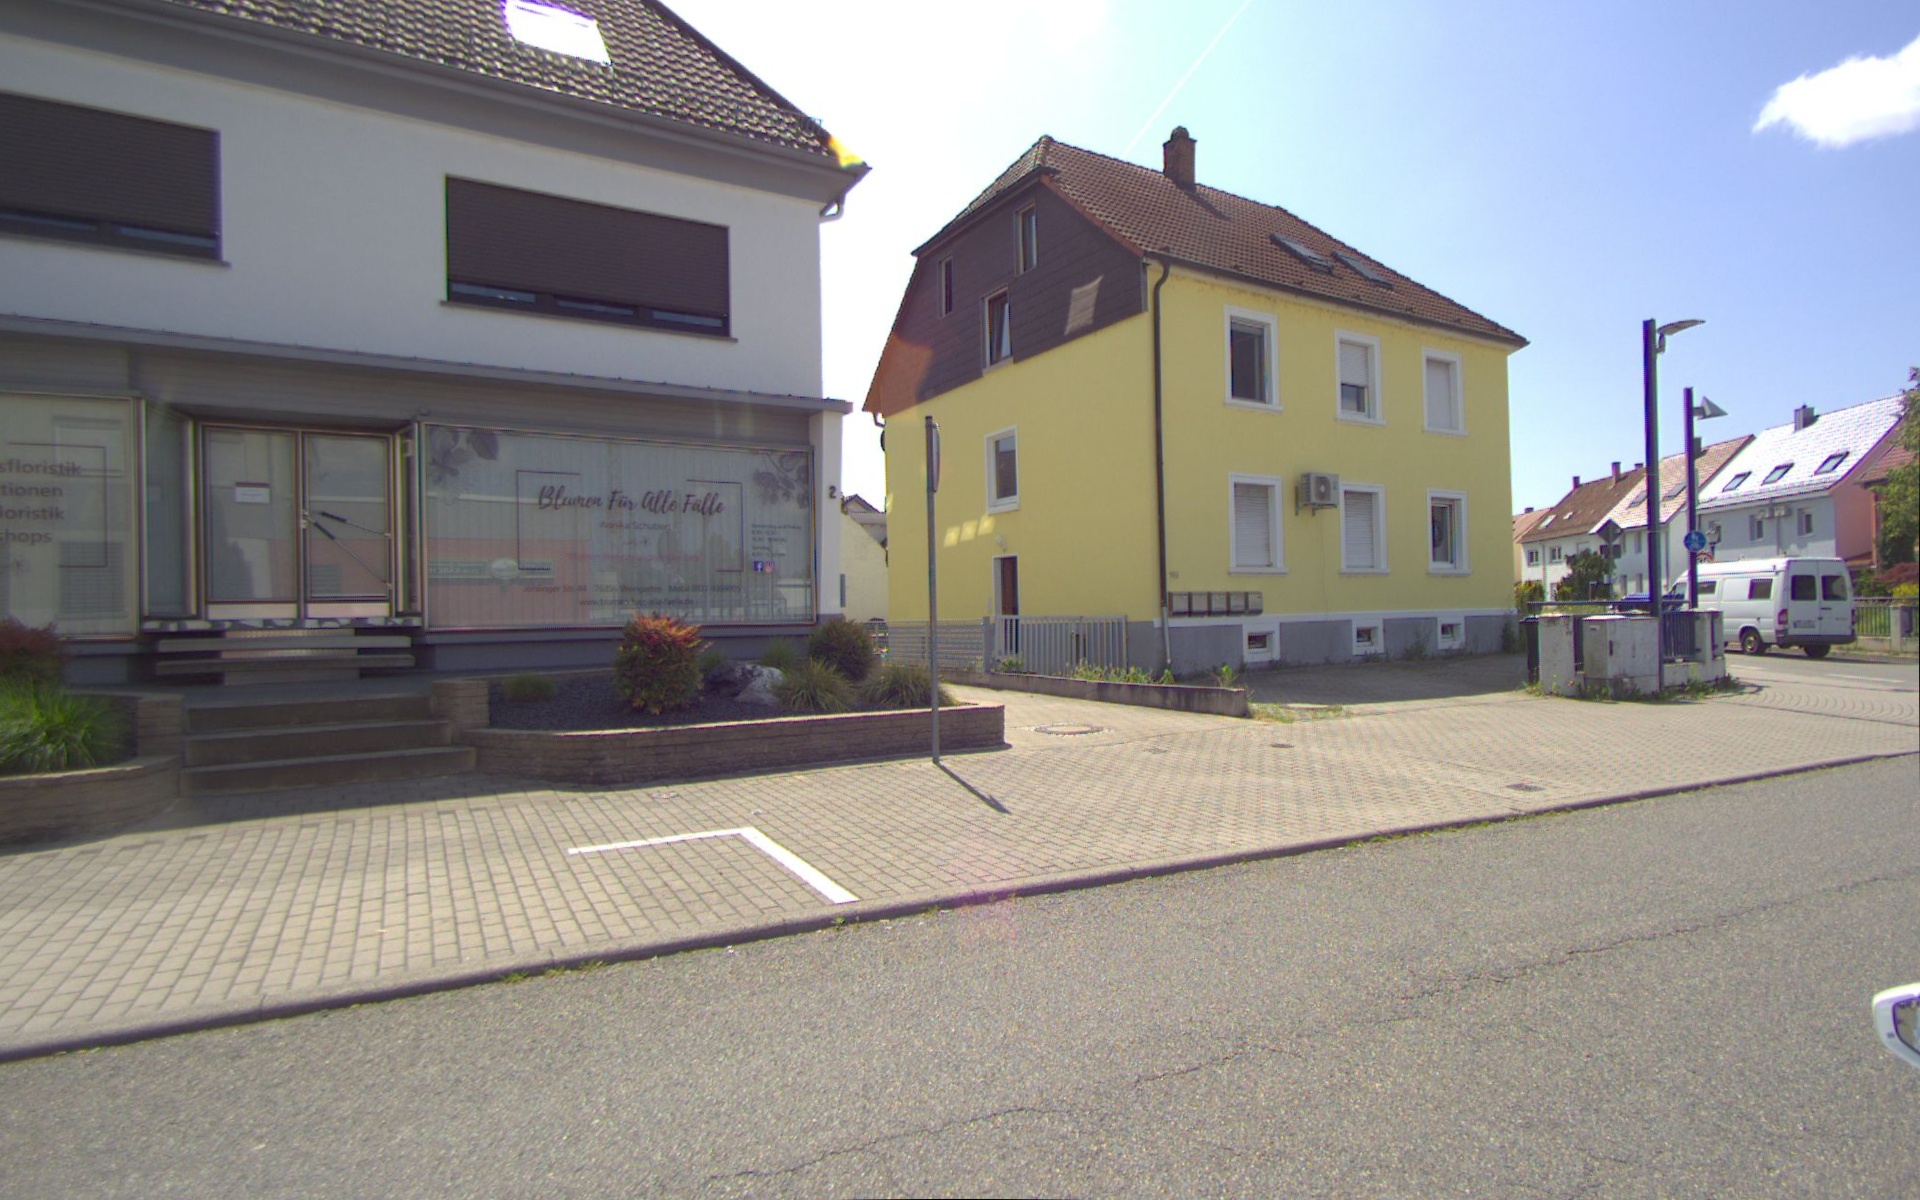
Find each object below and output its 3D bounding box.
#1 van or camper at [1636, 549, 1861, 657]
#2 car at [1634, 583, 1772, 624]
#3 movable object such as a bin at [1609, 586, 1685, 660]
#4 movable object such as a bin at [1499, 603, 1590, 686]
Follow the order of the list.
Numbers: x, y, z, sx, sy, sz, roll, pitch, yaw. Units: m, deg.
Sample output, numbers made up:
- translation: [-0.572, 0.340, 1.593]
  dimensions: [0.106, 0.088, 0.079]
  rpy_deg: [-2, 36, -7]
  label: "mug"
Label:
- translation: [21.704, 0.021, 28.036]
  dimensions: [1.965, 2.665, 5.393]
  rpy_deg: [2, 1, 0]
  label: "van or camper"
- translation: [30.144, 0.117, 40.858]
  dimensions: [4.171, 1.509, 1.748]
  rpy_deg: [1, 3, 3]
  label: "car"
- translation: [11.877, 0.388, 17.360]
  dimensions: [1.267, 1.230, 0.832]
  rpy_deg: [0, 0, -43]
  label: "movable object such as a bin"
- translation: [9.060, 0.668, 15.589]
  dimensions: [0.890, 1.241, 0.882]
  rpy_deg: [0, 0, -28]
  label: "movable object such as a bin"
